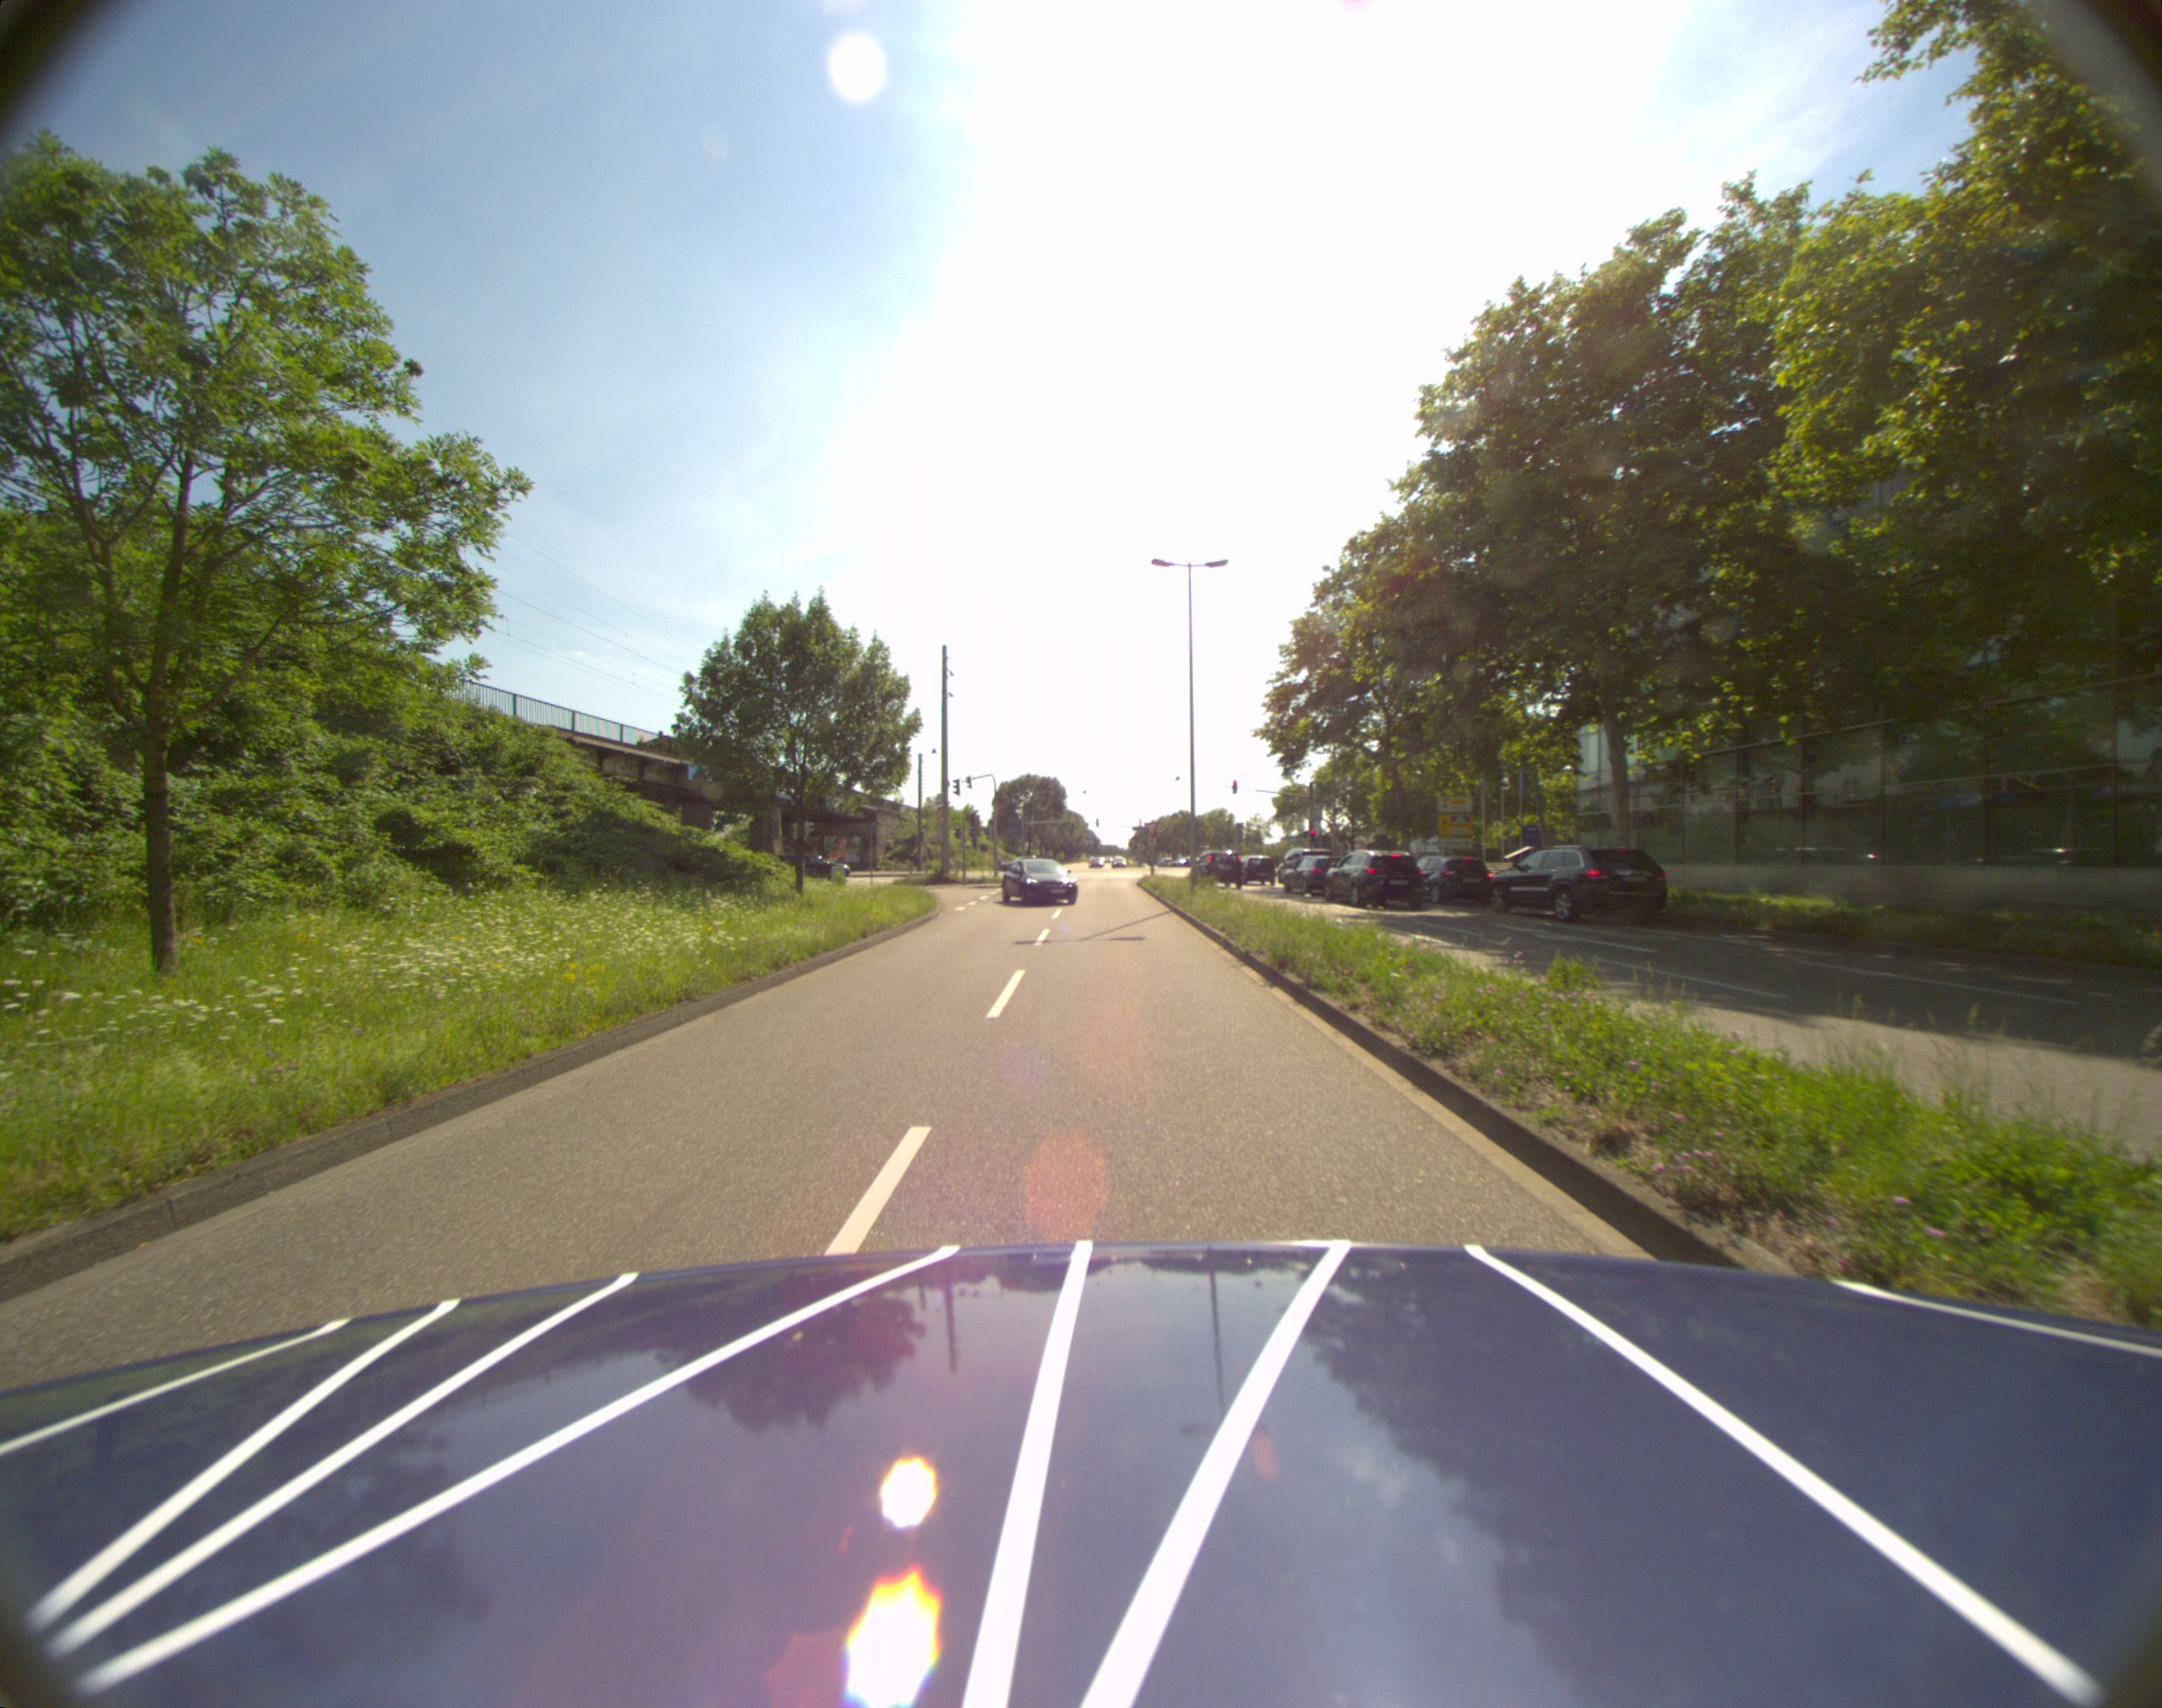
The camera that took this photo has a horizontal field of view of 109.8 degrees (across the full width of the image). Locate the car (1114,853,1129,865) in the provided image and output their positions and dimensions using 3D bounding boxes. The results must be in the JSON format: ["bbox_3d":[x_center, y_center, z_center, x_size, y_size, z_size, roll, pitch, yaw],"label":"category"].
[{"bbox_3d":[5.563,0.756,104.117,1.714,1.498,4.004,-1,-2,7],"label":"car"}]

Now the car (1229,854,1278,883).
[{"bbox_3d":[9.088,0.732,40.296,1.766,1.467,3.958,0,0,0],"label":"car"}]

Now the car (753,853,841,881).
[{"bbox_3d":[-16.742,0.733,44.832,4.454,1.586,1.995,0,0,-37],"label":"car"}]

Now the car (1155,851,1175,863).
[{"bbox_3d":[13.382,0.562,121.105,2.000,1.713,5.163,-1,-2,-7],"label":"car"}]

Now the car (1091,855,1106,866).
[{"bbox_3d":[2.381,0.880,102.457,1.714,1.384,4.004,-1,-2,7],"label":"car"}]

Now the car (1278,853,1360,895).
[{"bbox_3d":[9.089,0.706,29.402,1.840,1.454,4.517,2,0,1],"label":"car"}]

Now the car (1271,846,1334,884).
[{"bbox_3d":[11.838,0.533,40.987,1.943,1.908,5.228,0,0,0],"label":"car"}]

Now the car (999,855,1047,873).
[{"bbox_3d":[-5.395,0.907,70.878,4.006,1.603,1.815,0,-2,-29],"label":"car"}]

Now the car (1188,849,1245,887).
[{"bbox_3d":[6.174,0.614,35.128,1.812,1.606,4.491,0,0,0],"label":"car"}]

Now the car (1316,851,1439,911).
[{"bbox_3d":[8.737,0.743,22.882,1.998,1.601,4.496,0,0,1],"label":"car"}]

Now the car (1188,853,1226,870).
[{"bbox_3d":[12.667,0.727,76.367,1.994,1.699,4.440,0,0,35],"label":"car"}]

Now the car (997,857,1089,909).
[{"bbox_3d":[-1.356,0.891,25.344,1.830,1.498,4.208,-2,1,-21],"label":"car"}]

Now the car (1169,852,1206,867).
[{"bbox_3d":[12.119,0.596,86.497,4.007,1.619,1.768,0,1,-32],"label":"car"}]

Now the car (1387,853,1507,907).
[{"bbox_3d":[12.003,0.787,25.303,1.892,1.581,4.445,1,0,1],"label":"car"}]

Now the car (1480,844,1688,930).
[{"bbox_3d":[11.942,0.715,18.520,1.998,1.824,4.651,1,0,1],"label":"car"}]

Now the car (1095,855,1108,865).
[{"bbox_3d":[3.262,0.923,120.388,1.714,1.498,4.004,-1,-2,7],"label":"car"}]
